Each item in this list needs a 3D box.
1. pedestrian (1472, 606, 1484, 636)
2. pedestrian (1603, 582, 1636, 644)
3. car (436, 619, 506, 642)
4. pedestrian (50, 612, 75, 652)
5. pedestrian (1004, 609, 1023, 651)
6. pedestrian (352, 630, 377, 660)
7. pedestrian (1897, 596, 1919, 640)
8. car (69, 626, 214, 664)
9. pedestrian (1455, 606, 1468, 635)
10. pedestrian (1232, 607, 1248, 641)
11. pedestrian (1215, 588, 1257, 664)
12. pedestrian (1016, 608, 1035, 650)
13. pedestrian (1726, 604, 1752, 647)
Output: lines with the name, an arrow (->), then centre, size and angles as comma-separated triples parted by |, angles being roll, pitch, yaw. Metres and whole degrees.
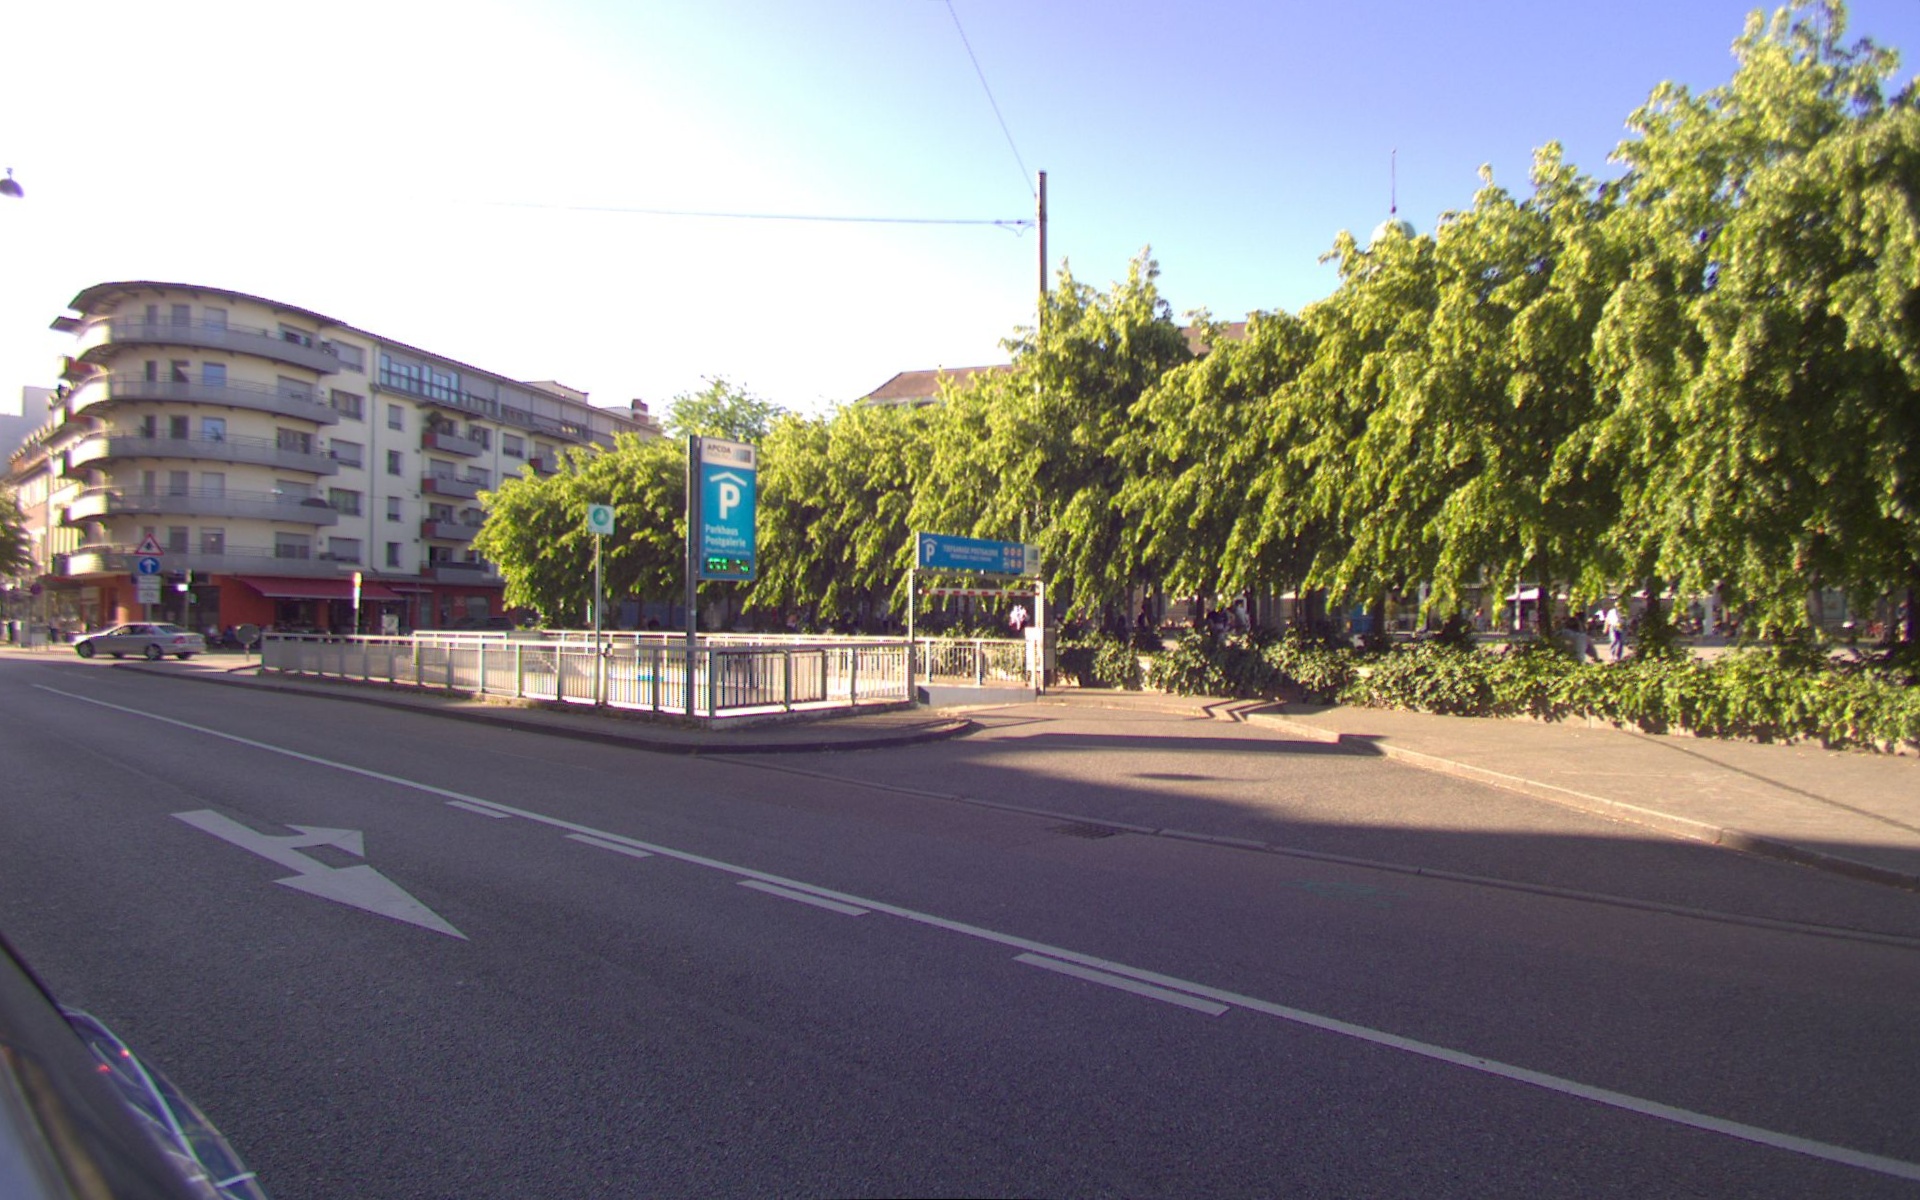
pedestrian -> 31.023, 1.250, 60.613 | 0.643, 1.734, 0.603 | -1, 0, 26
pedestrian -> 18.699, 0.369, 28.693 | 0.643, 1.734, 0.604 | -1, 0, 22
car -> -30.499, 1.888, 63.209 | 1.742, 1.311, 3.977 | -1, -1, 17
pedestrian -> -46.892, 1.675, 52.858 | 0.888, 2.029, 0.850 | -1, 0, 40
pedestrian -> 2.233, 1.233, 41.999 | 0.604, 1.734, 0.642 | -1, 0, 21
pedestrian -> -32.721, 2.465, 55.624 | 0.877, 1.607, 0.861 | -1, 0, 2
pedestrian -> 42.504, 0.796, 45.370 | 0.676, 1.963, 0.632 | -1, 0, 38
car -> -32.255, 1.771, 39.973 | 4.204, 1.363, 1.825 | 2, -2, -1
pedestrian -> 30.500, 1.266, 61.573 | 0.643, 1.734, 0.603 | -1, 0, 26
pedestrian -> 14.362, 1.219, 51.875 | 0.606, 1.734, 0.640 | -1, 0, 31
pedestrian -> 6.180, 0.576, 22.656 | 0.645, 1.661, 0.626 | -1, 0, -35
pedestrian -> 2.746, 1.221, 42.594 | 0.604, 1.734, 0.642 | -1, 0, 21
pedestrian -> 31.656, 1.037, 41.127 | 0.641, 1.734, 0.605 | -1, 0, 18
